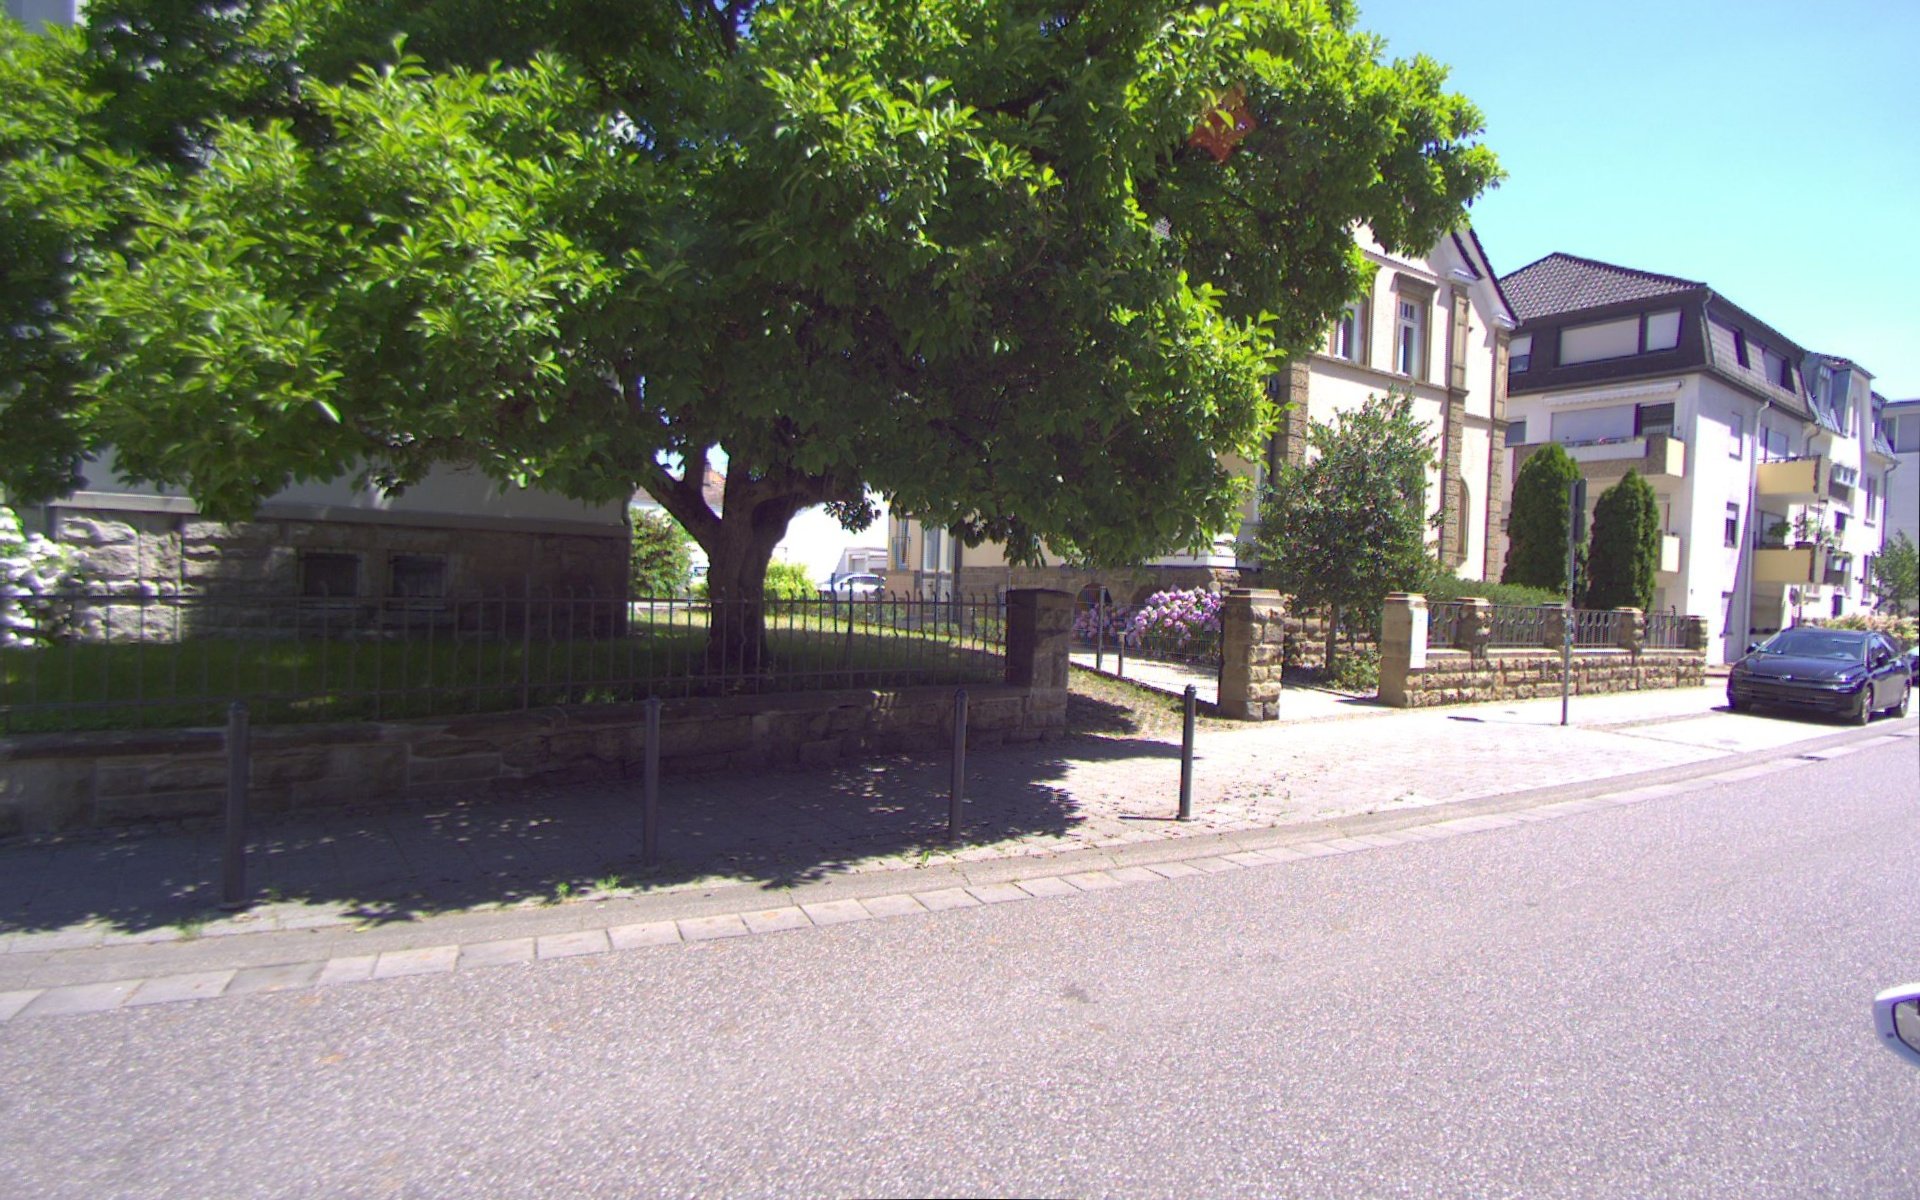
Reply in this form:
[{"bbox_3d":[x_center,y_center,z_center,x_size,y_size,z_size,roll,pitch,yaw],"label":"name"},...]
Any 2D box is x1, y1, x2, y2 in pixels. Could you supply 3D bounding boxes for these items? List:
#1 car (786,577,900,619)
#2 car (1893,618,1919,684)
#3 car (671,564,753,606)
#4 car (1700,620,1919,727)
[{"bbox_3d":[-4.437,-0.071,38.046,3.942,1.484,1.804,1,1,-23],"label":"car"},{"bbox_3d":[26.124,1.376,26.091,4.616,1.594,1.911,1,3,-37],"label":"car"},{"bbox_3d":[-9.255,-0.545,37.240,1.976,1.434,3.969,1,0,-29],"label":"car"},{"bbox_3d":[14.794,1.180,17.378,4.616,1.456,1.911,1,3,-37],"label":"car"}]
